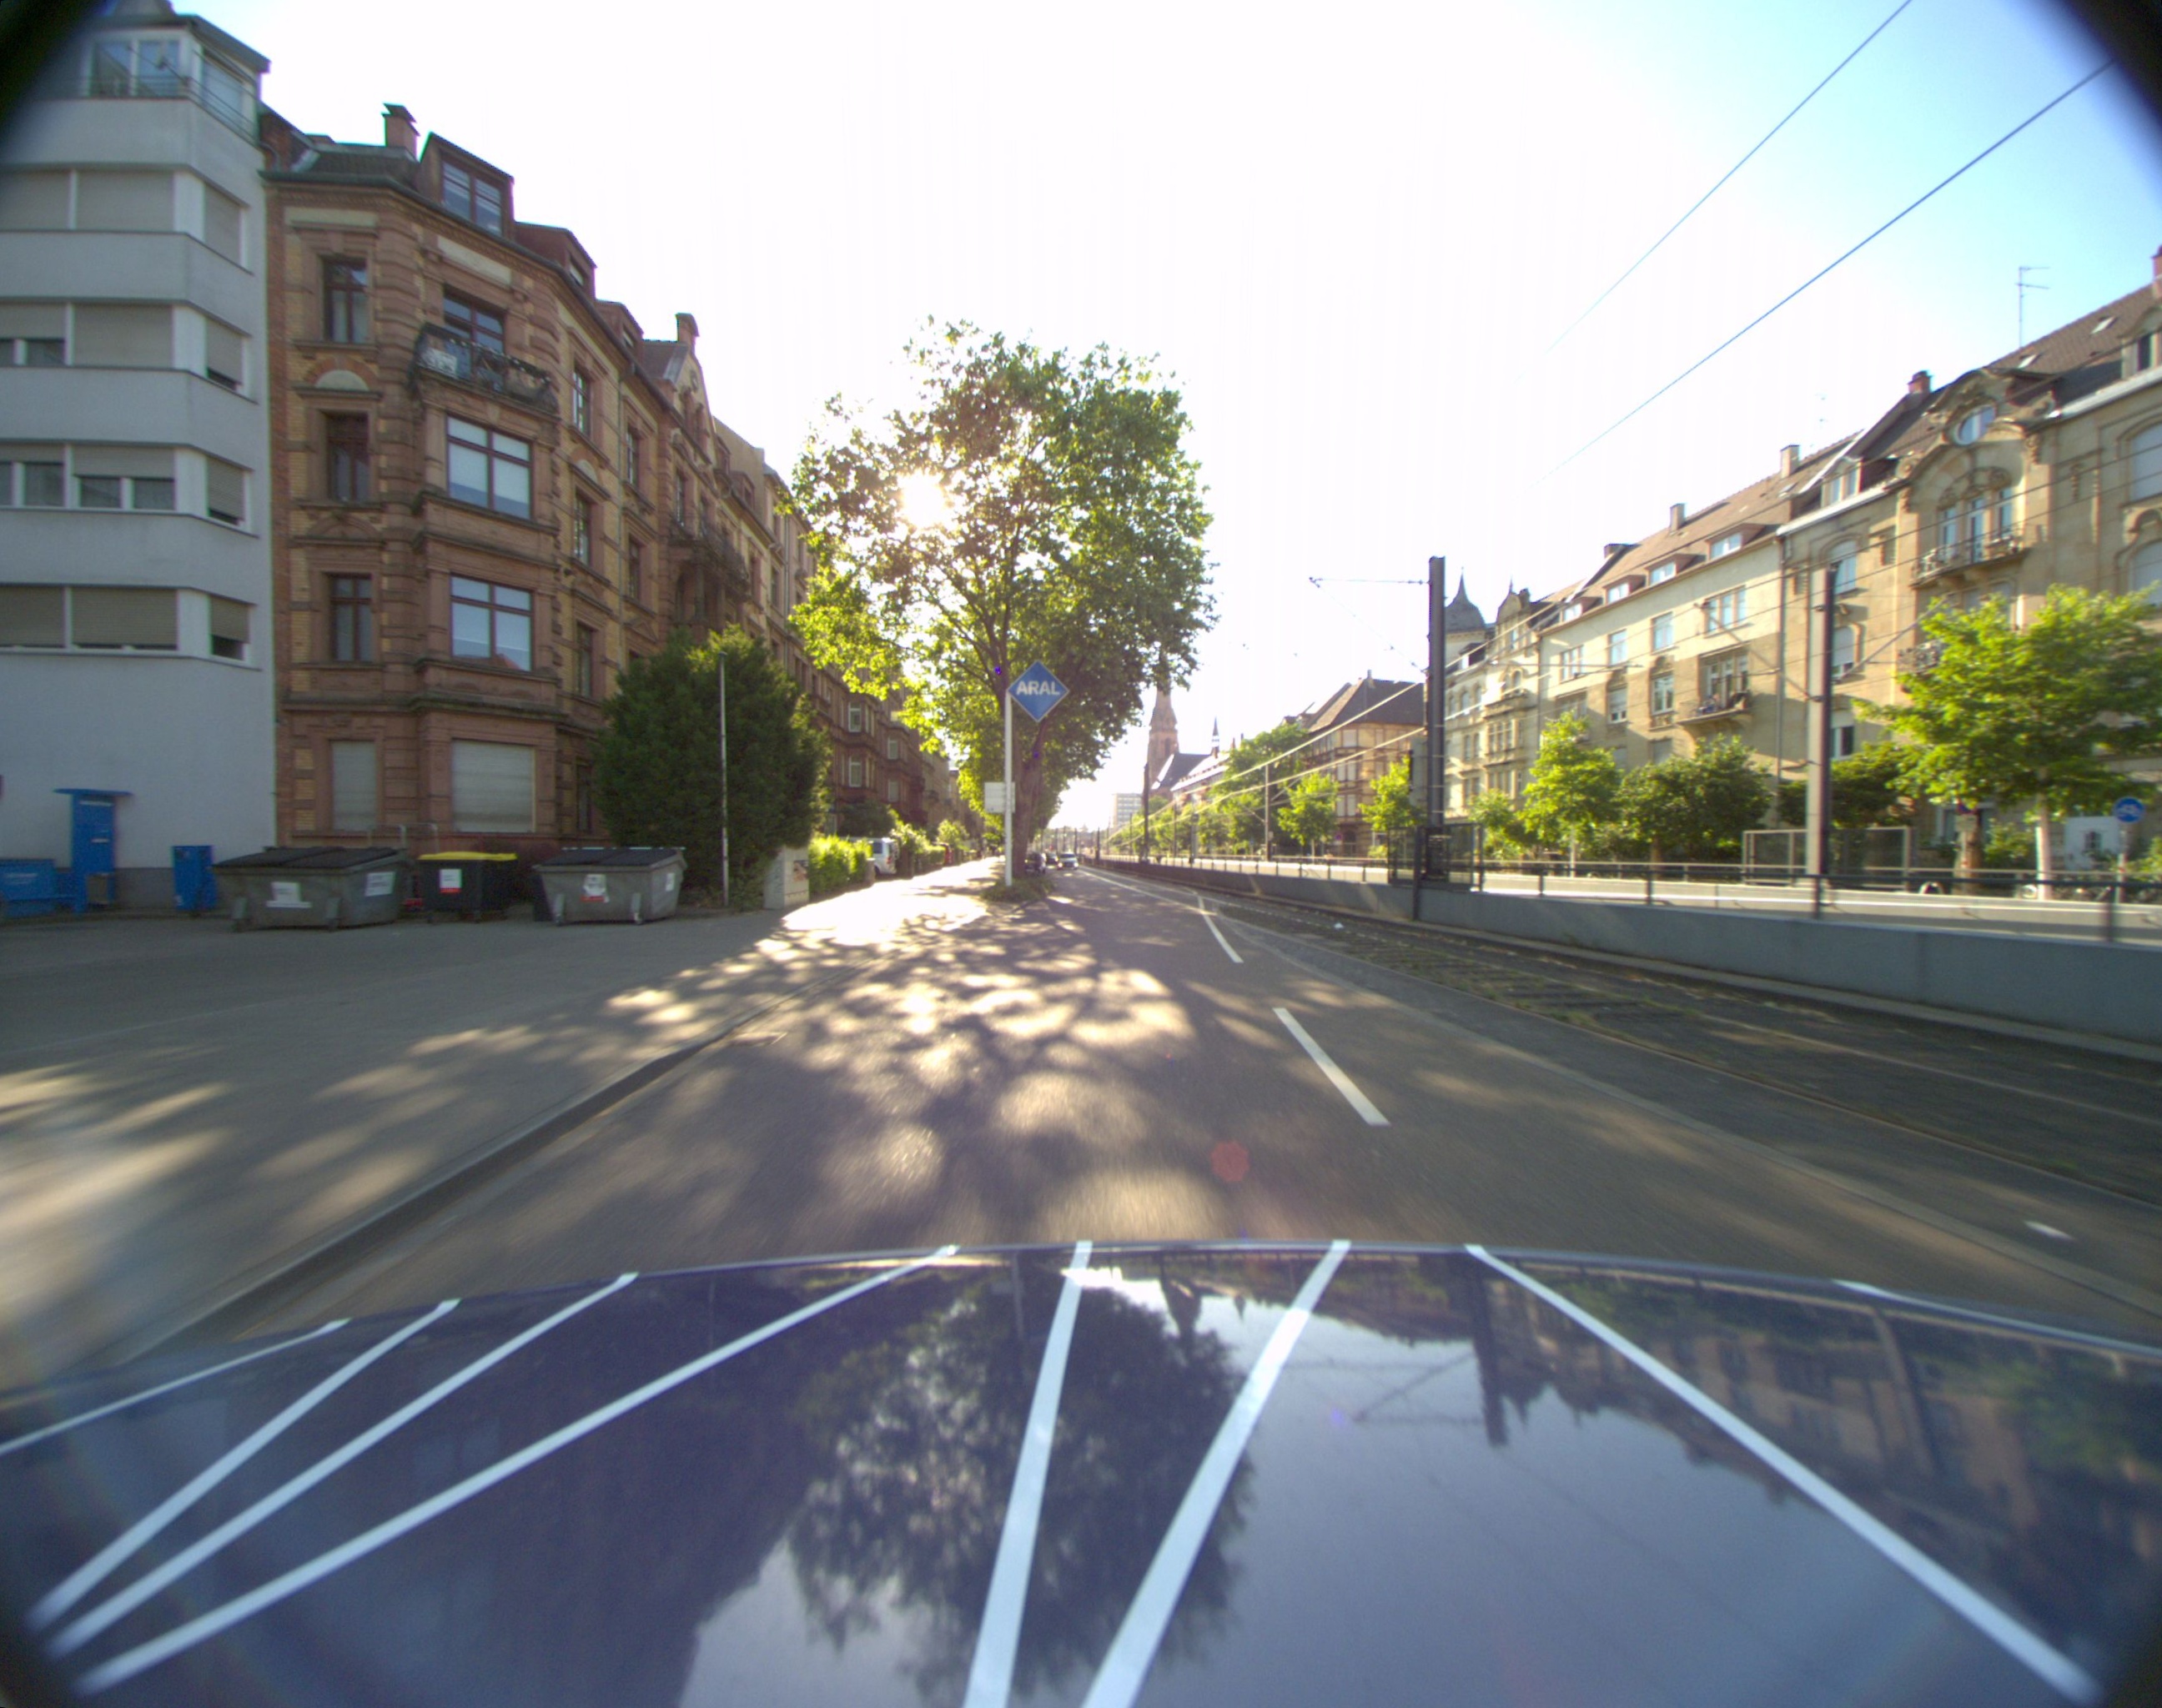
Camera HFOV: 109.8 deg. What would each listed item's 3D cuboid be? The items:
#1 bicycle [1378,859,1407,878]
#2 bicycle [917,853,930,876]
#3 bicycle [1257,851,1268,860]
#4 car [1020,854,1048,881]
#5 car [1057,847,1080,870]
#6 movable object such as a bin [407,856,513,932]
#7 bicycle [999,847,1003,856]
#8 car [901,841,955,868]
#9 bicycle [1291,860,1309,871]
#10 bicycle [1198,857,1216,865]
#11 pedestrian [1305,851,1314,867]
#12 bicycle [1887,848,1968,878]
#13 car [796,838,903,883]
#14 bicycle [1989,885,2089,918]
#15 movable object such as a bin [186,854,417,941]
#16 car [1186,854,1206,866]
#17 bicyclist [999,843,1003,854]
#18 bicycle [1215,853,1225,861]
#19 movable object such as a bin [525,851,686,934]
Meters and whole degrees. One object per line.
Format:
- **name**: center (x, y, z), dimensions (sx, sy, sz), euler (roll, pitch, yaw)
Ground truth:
- **bicycle**: center (21.376, 0.990, 52.221), dimensions (1.735, 1.272, 0.599), euler (0, 1, 2)
- **bicycle**: center (-8.994, 0.591, 43.361), dimensions (0.338, 1.242, 1.766), euler (-2, 1, 0)
- **bicycle**: center (22.015, 0.209, 92.390), dimensions (0.557, 1.092, 2.374), euler (-2, 1, -4)
- **car**: center (-2.822, 0.757, 45.415), dimensions (1.556, 1.490, 4.048), euler (1, 0, -5)
- **car**: center (-1.022, 0.377, 66.062), dimensions (1.823, 1.729, 3.998), euler (2, 2, 1)
- **movable object such as a bin**: center (-11.806, 0.737, 14.500), dimensions (1.189, 1.381, 1.028), euler (0, 1, -6)
- **bicycle**: center (-10.733, -0.270, 101.760), dimensions (0.562, 1.171, 2.225), euler (-2, 0, -6)
- **car**: center (-12.752, 0.036, 63.679), dimensions (4.189, 2.002, 1.999), euler (3, 0, -6)
- **bicycle**: center (22.760, 1.153, 79.111), dimensions (0.456, 1.000, 1.938), euler (-3, 4, -35)
- **bicycle**: center (17.173, 0.962, 103.750), dimensions (2.791, 1.092, 0.641), euler (-3, 1, -37)
- **pedestrian**: center (25.151, 0.538, 83.585), dimensions (0.720, 1.679, 0.864), euler (-2, 1, 2)
- **bicycle**: center (30.056, 0.293, 27.022), dimensions (0.506, 1.012, 2.111), euler (-2, 1, 0)
- **car**: center (-11.156, 0.312, 36.830), dimensions (4.586, 2.002, 1.913), euler (2, 1, -5)
- **bicycle**: center (26.963, 1.326, 21.431), dimensions (0.417, 0.795, 1.887), euler (-2, 0, -1)
- **movable object such as a bin**: center (-13.692, 0.719, 13.500), dimensions (2.215, 1.415, 1.776), euler (0, 1, -8)
- **car**: center (16.829, 0.858, 111.509), dimensions (1.838, 1.576, 3.997), euler (-2, 0, -6)
- **bicyclist**: center (-10.737, -0.715, 101.749), dimensions (0.544, 1.372, 0.644), euler (-1, 0, -6)
- **bicycle**: center (18.059, 0.373, 98.709), dimensions (1.271, 0.900, 0.538), euler (-3, 1, -34)
- **movable object such as a bin**: center (-8.942, 0.680, 14.461), dimensions (2.042, 1.482, 1.744), euler (0, 1, -8)
